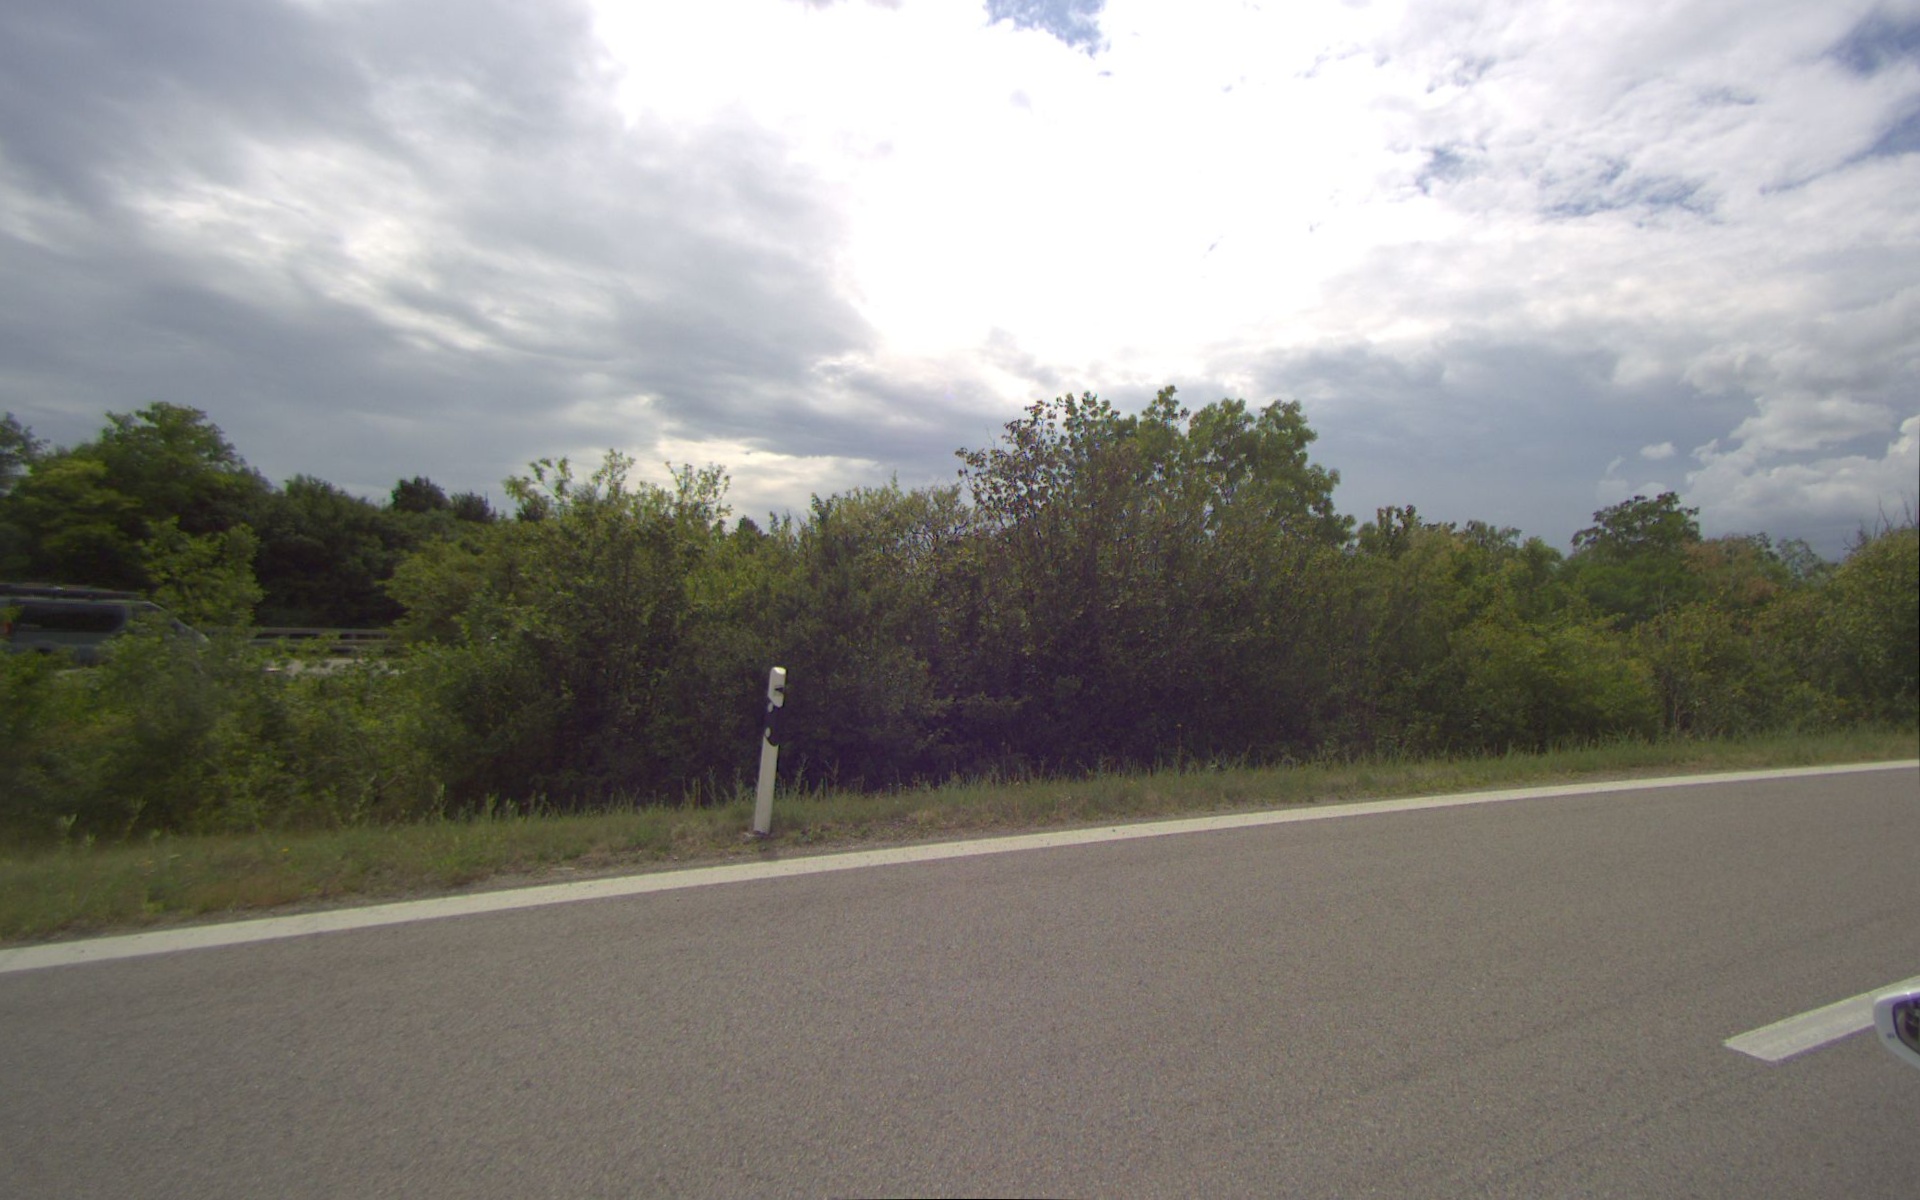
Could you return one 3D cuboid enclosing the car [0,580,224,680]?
[{"bbox_3d":[-21.865,0.782,25.421,1.962,2.288,4.806,1,-2,25],"label":"car"}]
